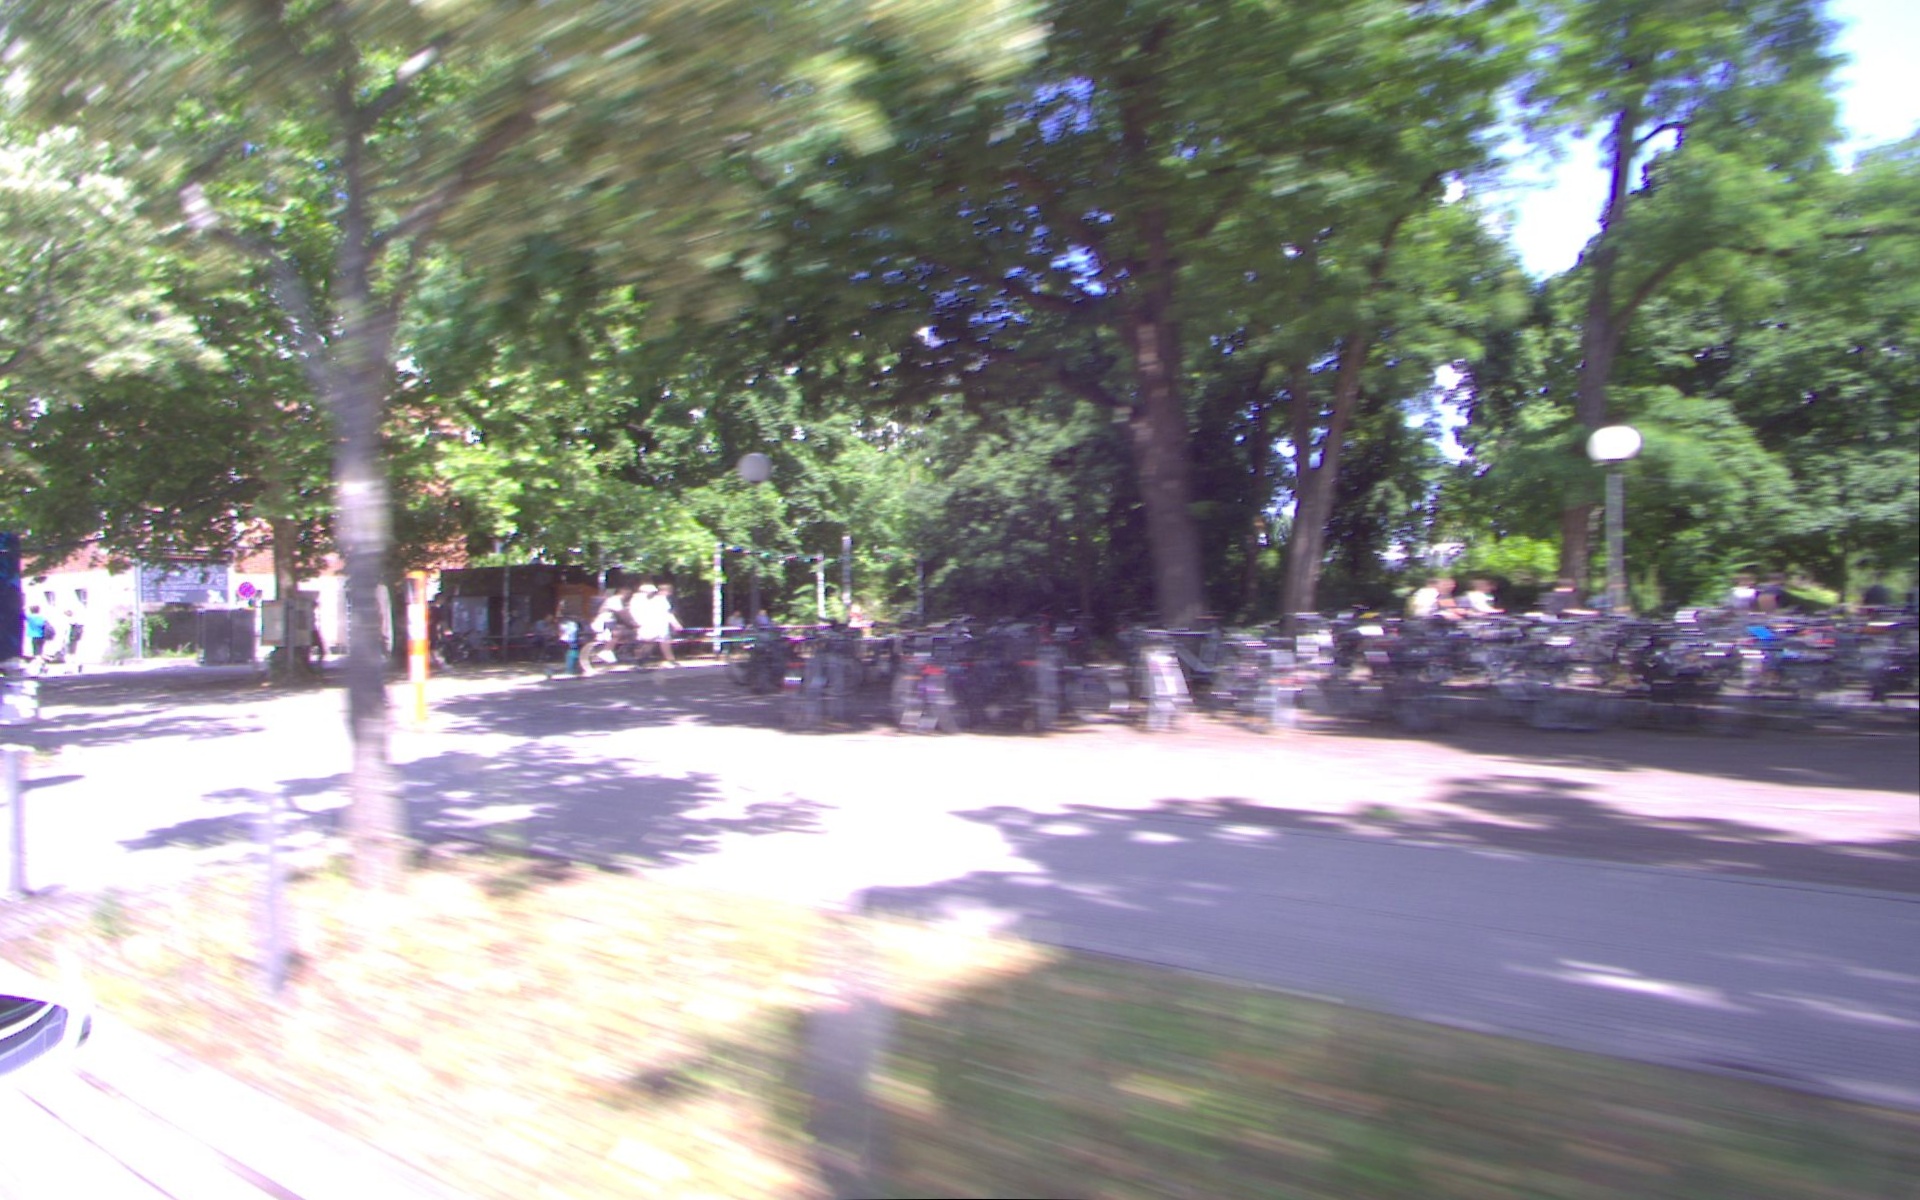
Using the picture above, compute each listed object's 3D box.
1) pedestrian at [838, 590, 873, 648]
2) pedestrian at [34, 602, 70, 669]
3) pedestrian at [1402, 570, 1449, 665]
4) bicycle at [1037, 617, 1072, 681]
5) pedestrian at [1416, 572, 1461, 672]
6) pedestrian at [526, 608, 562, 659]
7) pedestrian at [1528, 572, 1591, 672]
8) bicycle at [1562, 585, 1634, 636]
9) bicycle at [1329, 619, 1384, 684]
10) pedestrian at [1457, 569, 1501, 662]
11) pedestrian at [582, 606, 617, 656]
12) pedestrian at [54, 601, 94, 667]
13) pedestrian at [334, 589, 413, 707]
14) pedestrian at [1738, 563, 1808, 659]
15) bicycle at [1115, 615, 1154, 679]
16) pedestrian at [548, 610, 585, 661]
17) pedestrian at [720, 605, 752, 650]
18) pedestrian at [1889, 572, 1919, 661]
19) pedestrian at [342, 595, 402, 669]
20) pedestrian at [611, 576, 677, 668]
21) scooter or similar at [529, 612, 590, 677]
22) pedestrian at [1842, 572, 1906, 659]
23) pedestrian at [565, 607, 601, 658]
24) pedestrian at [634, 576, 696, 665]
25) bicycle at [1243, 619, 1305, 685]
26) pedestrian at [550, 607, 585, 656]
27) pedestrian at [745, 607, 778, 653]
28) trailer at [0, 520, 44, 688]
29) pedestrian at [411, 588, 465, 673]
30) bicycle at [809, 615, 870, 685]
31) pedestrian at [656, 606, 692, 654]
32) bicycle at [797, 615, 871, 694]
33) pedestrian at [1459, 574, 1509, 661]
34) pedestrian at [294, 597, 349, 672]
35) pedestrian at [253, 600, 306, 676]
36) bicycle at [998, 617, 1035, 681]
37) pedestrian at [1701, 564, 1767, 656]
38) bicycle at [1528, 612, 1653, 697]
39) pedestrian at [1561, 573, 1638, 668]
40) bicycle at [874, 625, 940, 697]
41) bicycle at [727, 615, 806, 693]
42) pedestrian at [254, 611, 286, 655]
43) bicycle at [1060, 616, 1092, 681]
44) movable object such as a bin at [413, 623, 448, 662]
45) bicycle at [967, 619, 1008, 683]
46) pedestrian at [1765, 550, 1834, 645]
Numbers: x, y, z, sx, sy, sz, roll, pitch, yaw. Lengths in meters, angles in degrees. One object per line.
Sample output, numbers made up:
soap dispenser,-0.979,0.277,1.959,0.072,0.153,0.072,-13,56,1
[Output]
pedestrian,-2.962,0.523,28.305,0.707,1.604,0.665,0,3,27
pedestrian,-25.144,0.974,27.737,0.400,1.822,0.594,1,3,28
pedestrian,9.030,0.341,19.447,0.707,1.799,0.744,0,1,16
bicycle,1.631,0.807,17.144,0.469,0.992,1.903,-1,0,9
pedestrian,8.817,0.392,18.469,0.709,1.799,0.742,0,1,24
pedestrian,-11.636,0.932,28.009,0.718,1.365,0.568,0,3,27
pedestrian,11.055,0.398,18.499,0.707,1.799,0.744,0,1,1
bicycle,14.371,0.226,22.586,0.469,1.108,1.610,-1,0,-6
bicycle,6.659,0.842,16.883,0.300,0.992,1.884,-1,0,4
pedestrian,10.218,0.304,19.751,0.709,1.799,0.742,0,1,24
pedestrian,-10.316,0.881,28.650,0.718,1.365,0.568,0,3,27
pedestrian,-25.186,0.957,28.481,0.716,1.822,0.594,1,3,28
pedestrian,-8.234,0.656,14.051,0.914,1.592,0.567,0,1,32
pedestrian,15.536,0.215,19.160,0.707,1.799,0.744,0,1,-8
bicycle,2.970,0.779,17.078,0.601,0.992,1.902,-1,0,10
pedestrian,-10.850,0.974,27.626,0.718,1.365,0.568,0,3,27
pedestrian,-6.607,0.809,29.558,0.612,1.289,0.665,0,3,27
pedestrian,19.679,0.340,20.487,0.709,1.799,0.743,0,1,-20
pedestrian,-14.803,0.787,25.208,0.904,1.799,0.958,0,1,24
pedestrian,-6.898,0.474,21.904,1.058,1.975,0.834,-1,2,12
scooter or similar,-7.779,0.862,19.421,1.276,1.234,0.423,-1,0,33
pedestrian,19.407,0.322,21.266,0.709,1.799,0.743,0,1,-20
pedestrian,-10.583,0.905,28.137,0.718,1.365,0.568,0,3,27
pedestrian,-6.718,0.459,22.839,1.058,1.975,0.834,-1,2,12
bicycle,5.168,0.826,16.578,0.469,0.992,1.903,-1,0,2
pedestrian,-11.261,0.898,28.728,0.718,1.365,0.568,0,3,27
pedestrian,-5.801,0.877,29.265,0.612,1.289,0.665,0,3,27
trailer,-20.622,0.127,19.294,6.165,3.092,2.687,-1,1,31
pedestrian,-11.813,0.679,22.669,0.812,1.879,0.763,-1,1,32
bicycle,-2.171,0.884,18.245,0.469,1.158,1.902,-1,0,12
pedestrian,-8.420,0.867,29.515,0.708,1.365,0.665,0,3,27
bicycle,-1.955,0.831,15.825,0.601,1.133,1.902,-1,0,10
pedestrian,10.961,0.359,20.969,0.707,1.799,0.744,0,1,6
pedestrian,-14.834,0.788,23.268,0.812,1.683,0.763,-1,1,32
pedestrian,-15.295,0.840,22.513,0.777,1.683,0.696,-1,1,32
bicycle,0.994,0.822,17.381,0.413,0.992,1.902,-1,0,10
pedestrian,15.415,0.191,19.950,0.707,1.799,0.744,0,1,-8
bicycle,8.935,0.736,14.290,0.469,1.097,1.903,-1,0,-4
pedestrian,12.387,0.392,19.430,0.954,1.799,0.963,0,1,10
bicycle,-0.790,0.912,15.562,0.601,0.992,1.902,-1,0,10
bicycle,-3.037,0.823,15.899,0.601,1.133,1.808,-1,0,10
pedestrian,-25.473,1.212,36.972,0.669,1.628,0.657,-1,1,17
bicycle,1.988,0.799,17.043,0.469,0.992,1.903,-1,0,9
movable object such as a bin,-15.252,1.212,28.846,0.732,1.085,0.598,-3,-1,33
bicycle,0.496,0.852,17.164,0.413,0.992,1.902,-1,0,10
pedestrian,16.320,-0.048,19.486,0.707,1.799,0.744,0,1,0
